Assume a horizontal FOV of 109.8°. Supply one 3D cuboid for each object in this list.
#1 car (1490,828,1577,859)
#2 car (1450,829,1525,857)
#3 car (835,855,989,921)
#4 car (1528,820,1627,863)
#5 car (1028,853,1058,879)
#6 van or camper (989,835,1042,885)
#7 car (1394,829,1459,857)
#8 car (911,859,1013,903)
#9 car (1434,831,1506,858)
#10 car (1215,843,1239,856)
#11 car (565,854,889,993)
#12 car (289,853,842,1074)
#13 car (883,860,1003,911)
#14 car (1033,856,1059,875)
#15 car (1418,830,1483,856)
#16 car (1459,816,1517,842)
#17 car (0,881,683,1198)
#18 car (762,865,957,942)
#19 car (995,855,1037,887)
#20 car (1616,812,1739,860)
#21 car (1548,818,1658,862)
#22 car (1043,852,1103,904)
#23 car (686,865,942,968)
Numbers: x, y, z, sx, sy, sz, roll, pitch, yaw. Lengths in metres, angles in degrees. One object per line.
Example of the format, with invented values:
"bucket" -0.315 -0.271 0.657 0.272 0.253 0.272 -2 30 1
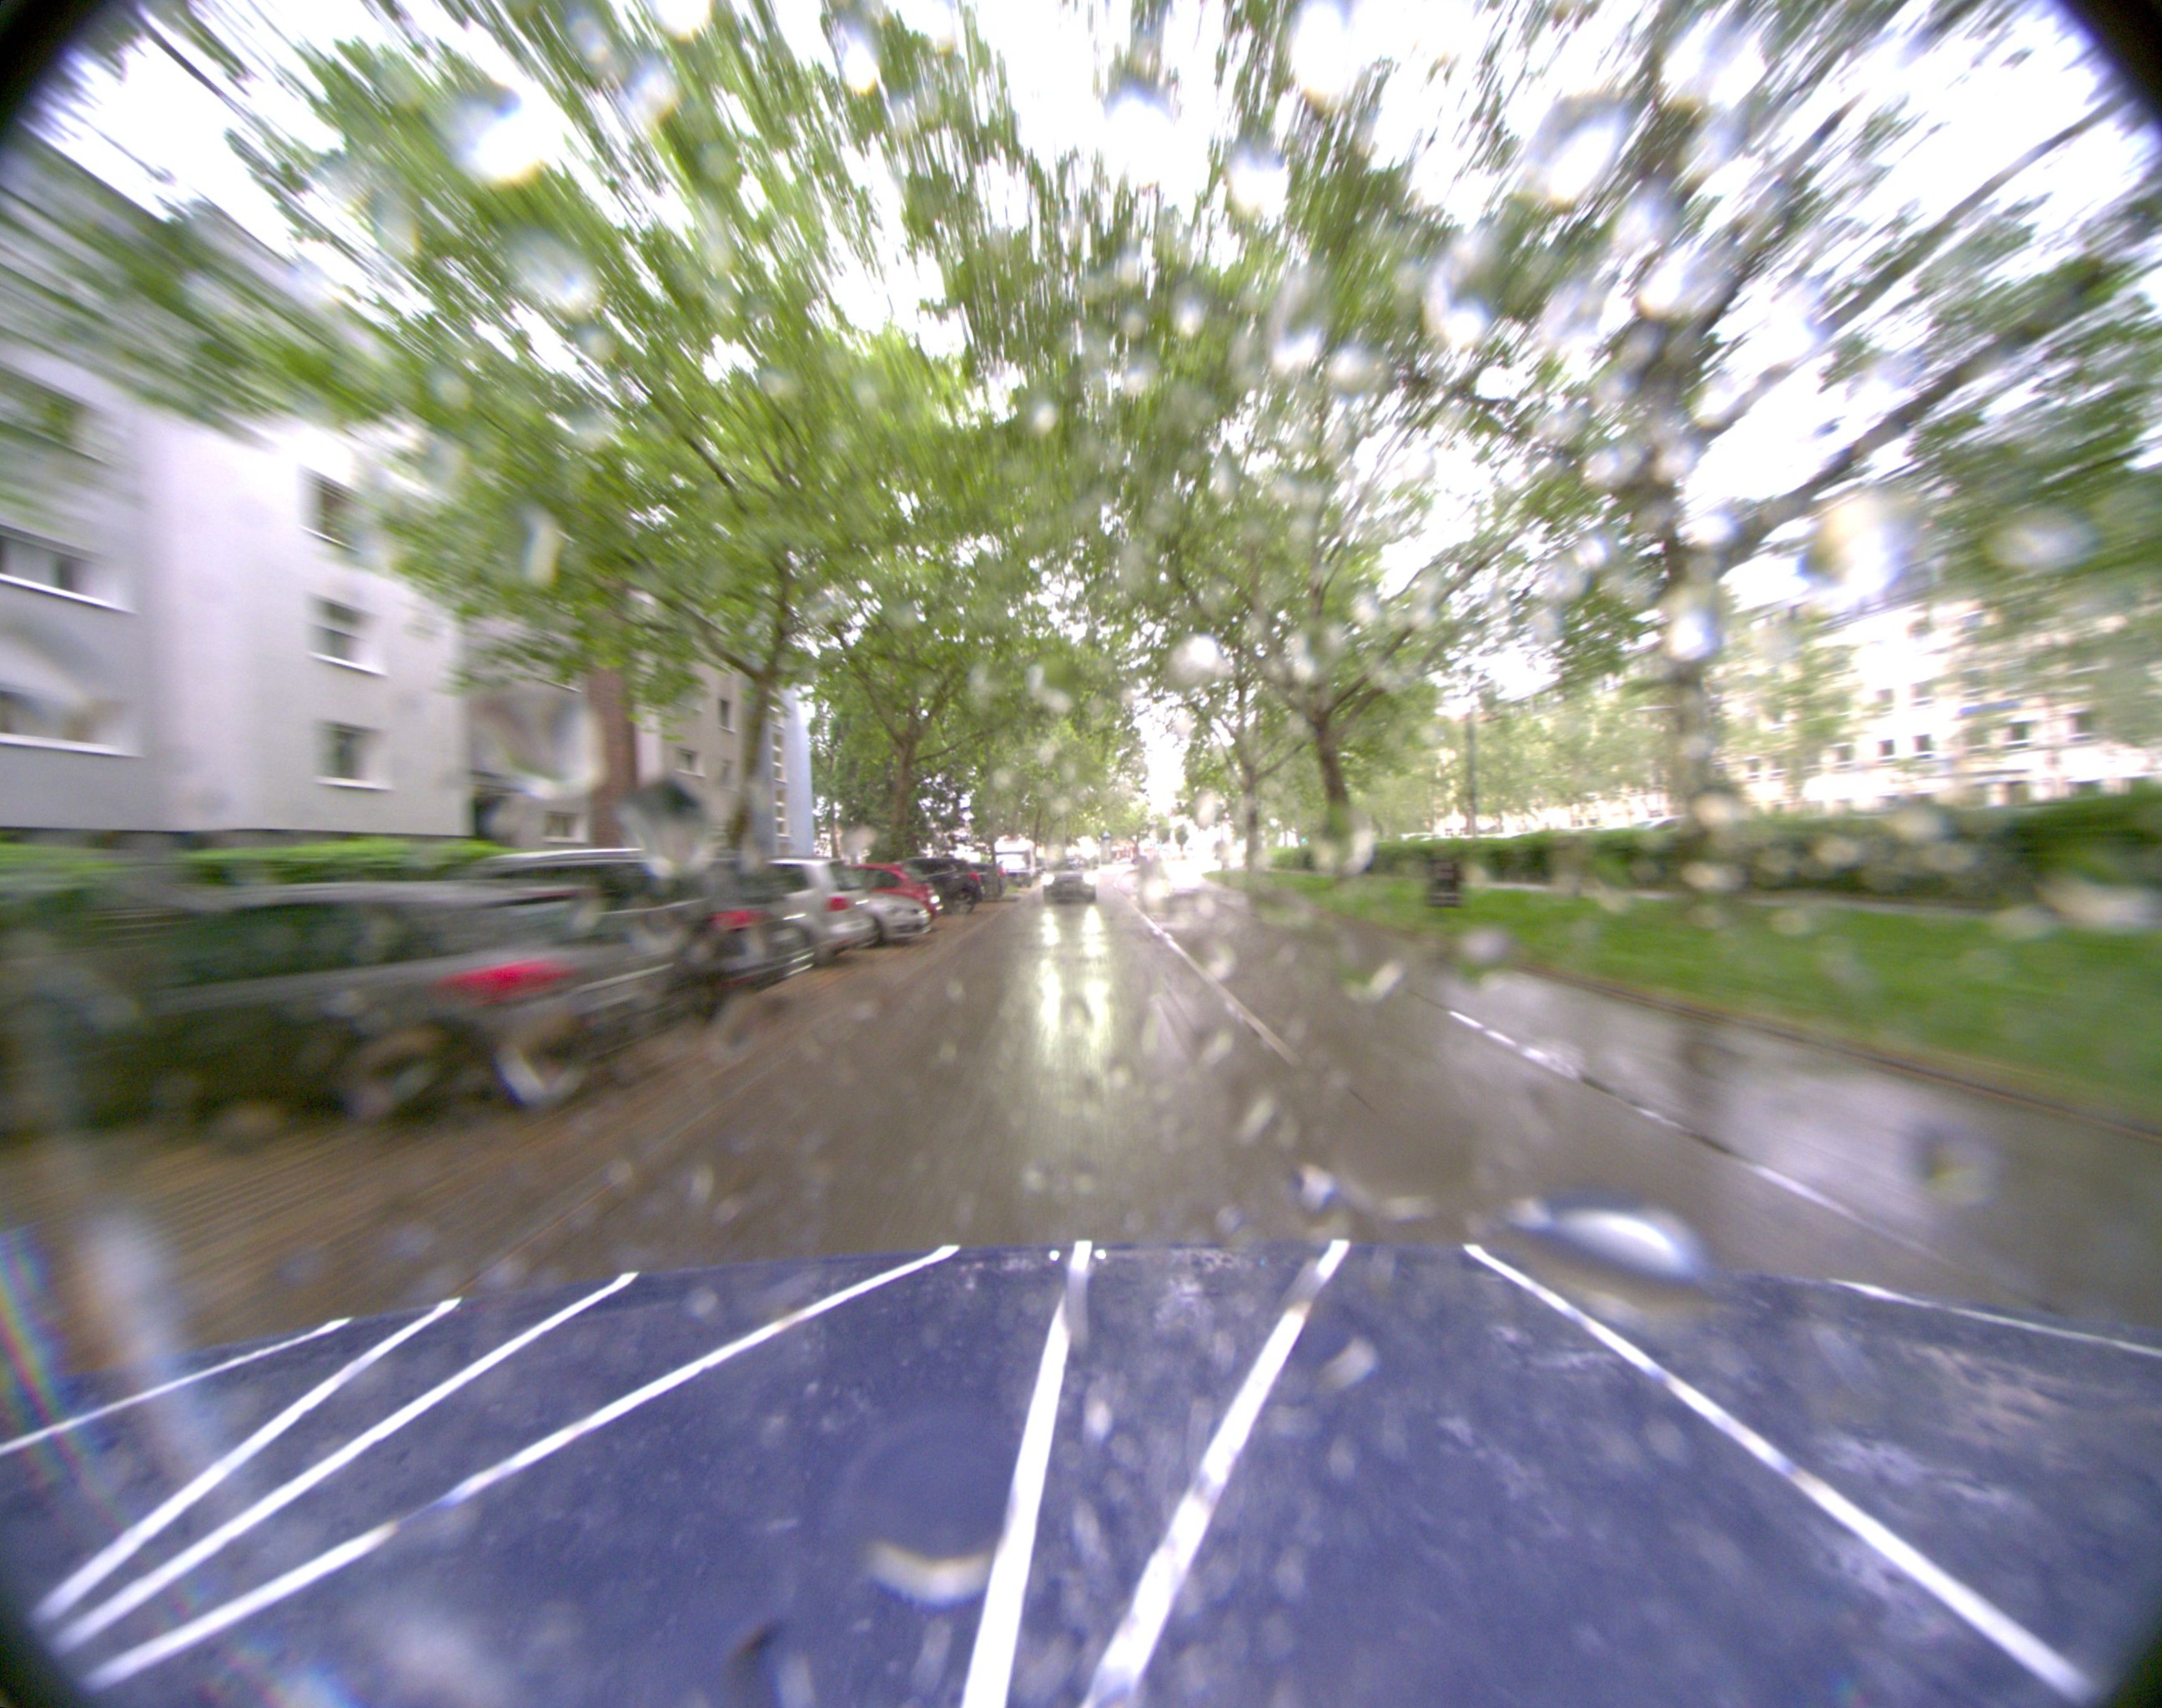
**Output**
"car" 27.070 -0.625 45.573 3.996 1.541 1.886 -3 0 3
"car" 27.323 -0.735 51.163 3.997 1.589 1.855 -4 0 1
"car" -4.745 0.912 21.410 3.873 1.687 1.834 0 -1 -27
"car" 26.879 -0.660 41.272 3.996 2.120 2.000 -2 0 2
"car" -2.729 0.812 55.021 1.920 1.611 4.452 -4 1 -1
"van or camper" -3.996 0.337 47.958 2.324 2.791 6.864 -3 0 2
"car" 26.504 -0.814 58.362 3.998 1.822 1.854 -4 0 -3
"car" -5.034 1.118 32.110 3.774 1.592 1.799 -4 0 -29
"car" 27.286 -0.647 53.343 3.997 1.589 1.855 -4 0 1
"car" 27.549 -0.885 143.616 2.190 2.242 4.893 -4 0 41
"car" -5.224 0.983 11.614 3.997 1.717 1.801 -4 0 1
"car" -4.983 1.004 7.821 4.348 1.751 1.819 -4 0 1
"car" -5.209 1.168 28.728 4.005 1.592 1.799 -4 0 -29
"car" -2.747 0.903 60.334 1.552 1.382 4.150 -4 0 3
"car" 26.820 -0.769 55.252 3.816 1.589 1.718 -4 0 -2
"car" 55.640 -3.385 103.987 6.212 3.175 2.838 -4 0 -2
"car" -5.106 1.092 5.027 3.997 1.528 1.631 -4 0 1
"car" -4.773 1.046 16.718 3.712 1.527 1.738 -1 0 3
"car" -3.638 0.932 42.235 1.693 1.643 2.943 -4 0 -16
"car" 27.430 -0.809 35.037 3.996 2.002 2.000 -2 0 1
"car" 25.830 -0.670 37.709 3.996 2.002 2.000 -2 0 1
"car" -0.225 0.794 27.821 1.961 1.701 4.175 -2 0 2
"car" -4.765 1.092 14.019 3.997 1.504 1.801 -4 0 -1
